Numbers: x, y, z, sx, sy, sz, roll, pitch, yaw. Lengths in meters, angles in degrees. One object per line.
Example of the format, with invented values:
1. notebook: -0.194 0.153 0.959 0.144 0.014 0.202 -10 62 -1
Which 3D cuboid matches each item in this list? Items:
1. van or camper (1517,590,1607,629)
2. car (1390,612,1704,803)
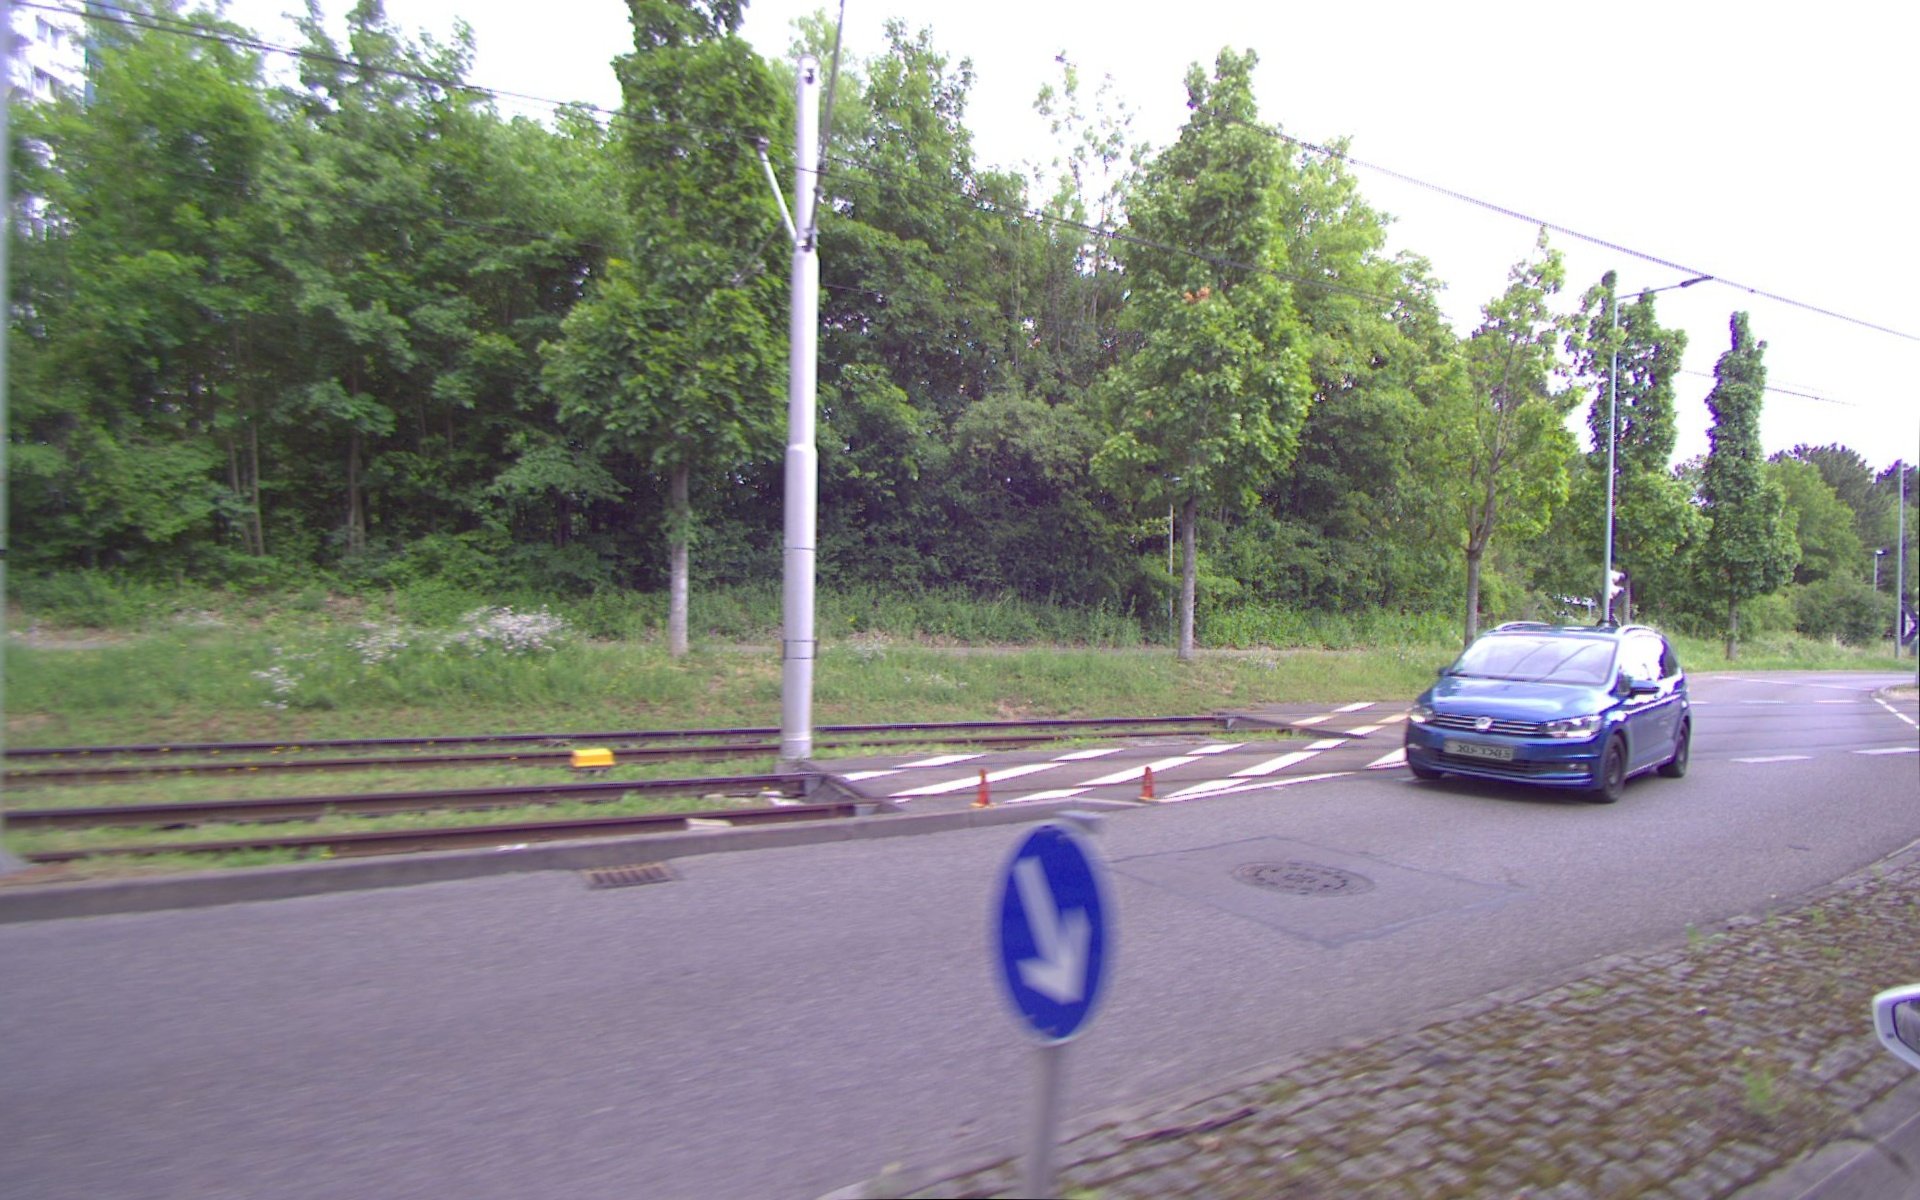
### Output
1. van or camper: 31.791 0.520 53.000 4.572 1.902 1.985 2 0 -28
2. car: 6.281 0.922 10.521 1.848 1.541 4.212 2 1 44
